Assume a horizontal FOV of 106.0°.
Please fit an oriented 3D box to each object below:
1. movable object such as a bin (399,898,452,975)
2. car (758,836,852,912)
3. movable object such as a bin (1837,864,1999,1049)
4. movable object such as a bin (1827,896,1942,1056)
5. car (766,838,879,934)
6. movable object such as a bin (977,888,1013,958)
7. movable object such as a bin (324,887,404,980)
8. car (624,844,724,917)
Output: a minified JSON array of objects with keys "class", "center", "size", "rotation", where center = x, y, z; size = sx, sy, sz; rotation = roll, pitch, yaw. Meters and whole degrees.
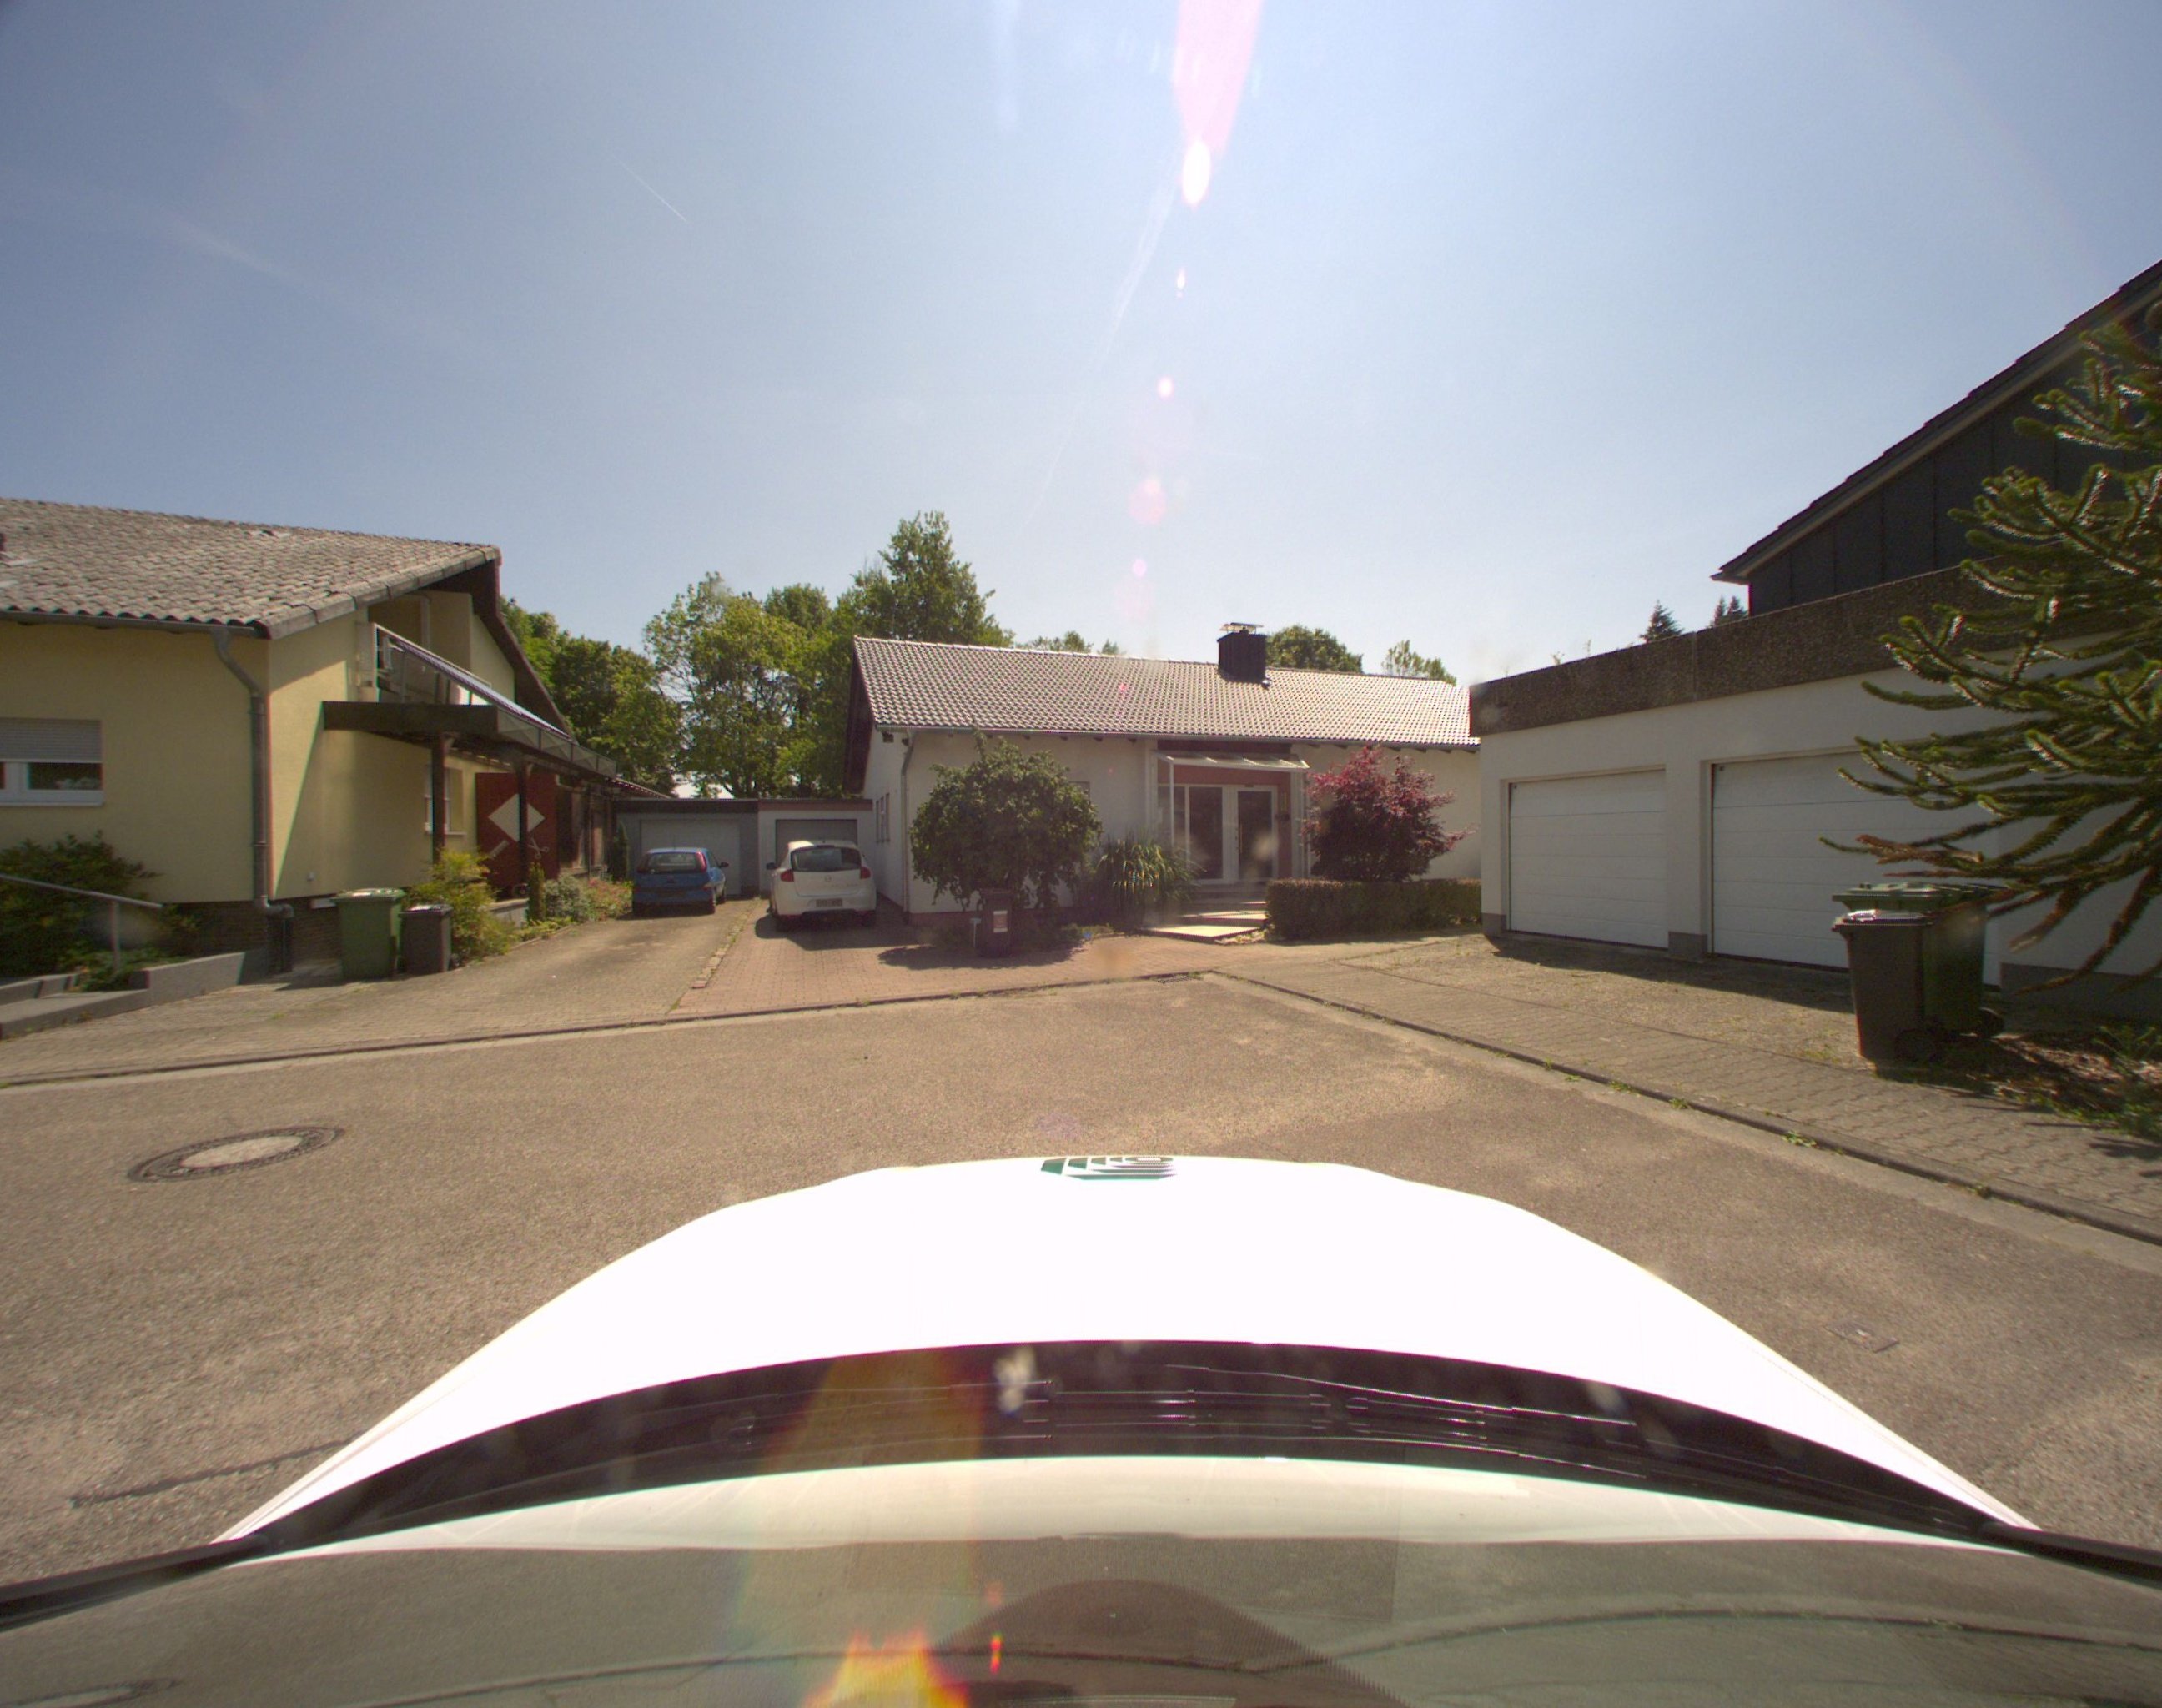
[{"class":"movable object such as a bin","center":[-8.165,1.010,10.153],"size":[0.409,0.891,0.422],"rotation":[-2,1,-27]},{"class":"car","center":[-6.722,0.386,19.930],"size":[1.928,1.607,3.975],"rotation":[-2,2,-18]},{"class":"movable object such as a bin","center":[5.922,0.685,5.784],"size":[0.551,1.203,0.630],"rotation":[-1,0,-19]},{"class":"movable object such as a bin","center":[5.261,0.769,5.346],"size":[0.517,0.949,0.391],"rotation":[0,1,45]},{"class":"car","center":[-5.066,0.497,15.649],"size":[1.753,1.568,3.971],"rotation":[-1,1,-22]},{"class":"movable object such as a bin","center":[-1.170,0.927,11.054],"size":[0.375,0.891,0.388],"rotation":[-2,1,-20]},{"class":"movable object such as a bin","center":[-8.729,0.949,9.938],"size":[0.594,1.041,0.487],"rotation":[-2,1,-27]},{"class":"car","center":[-9.214,0.526,18.678],"size":[1.619,1.454,3.234],"rotation":[-1,2,-19]}]
